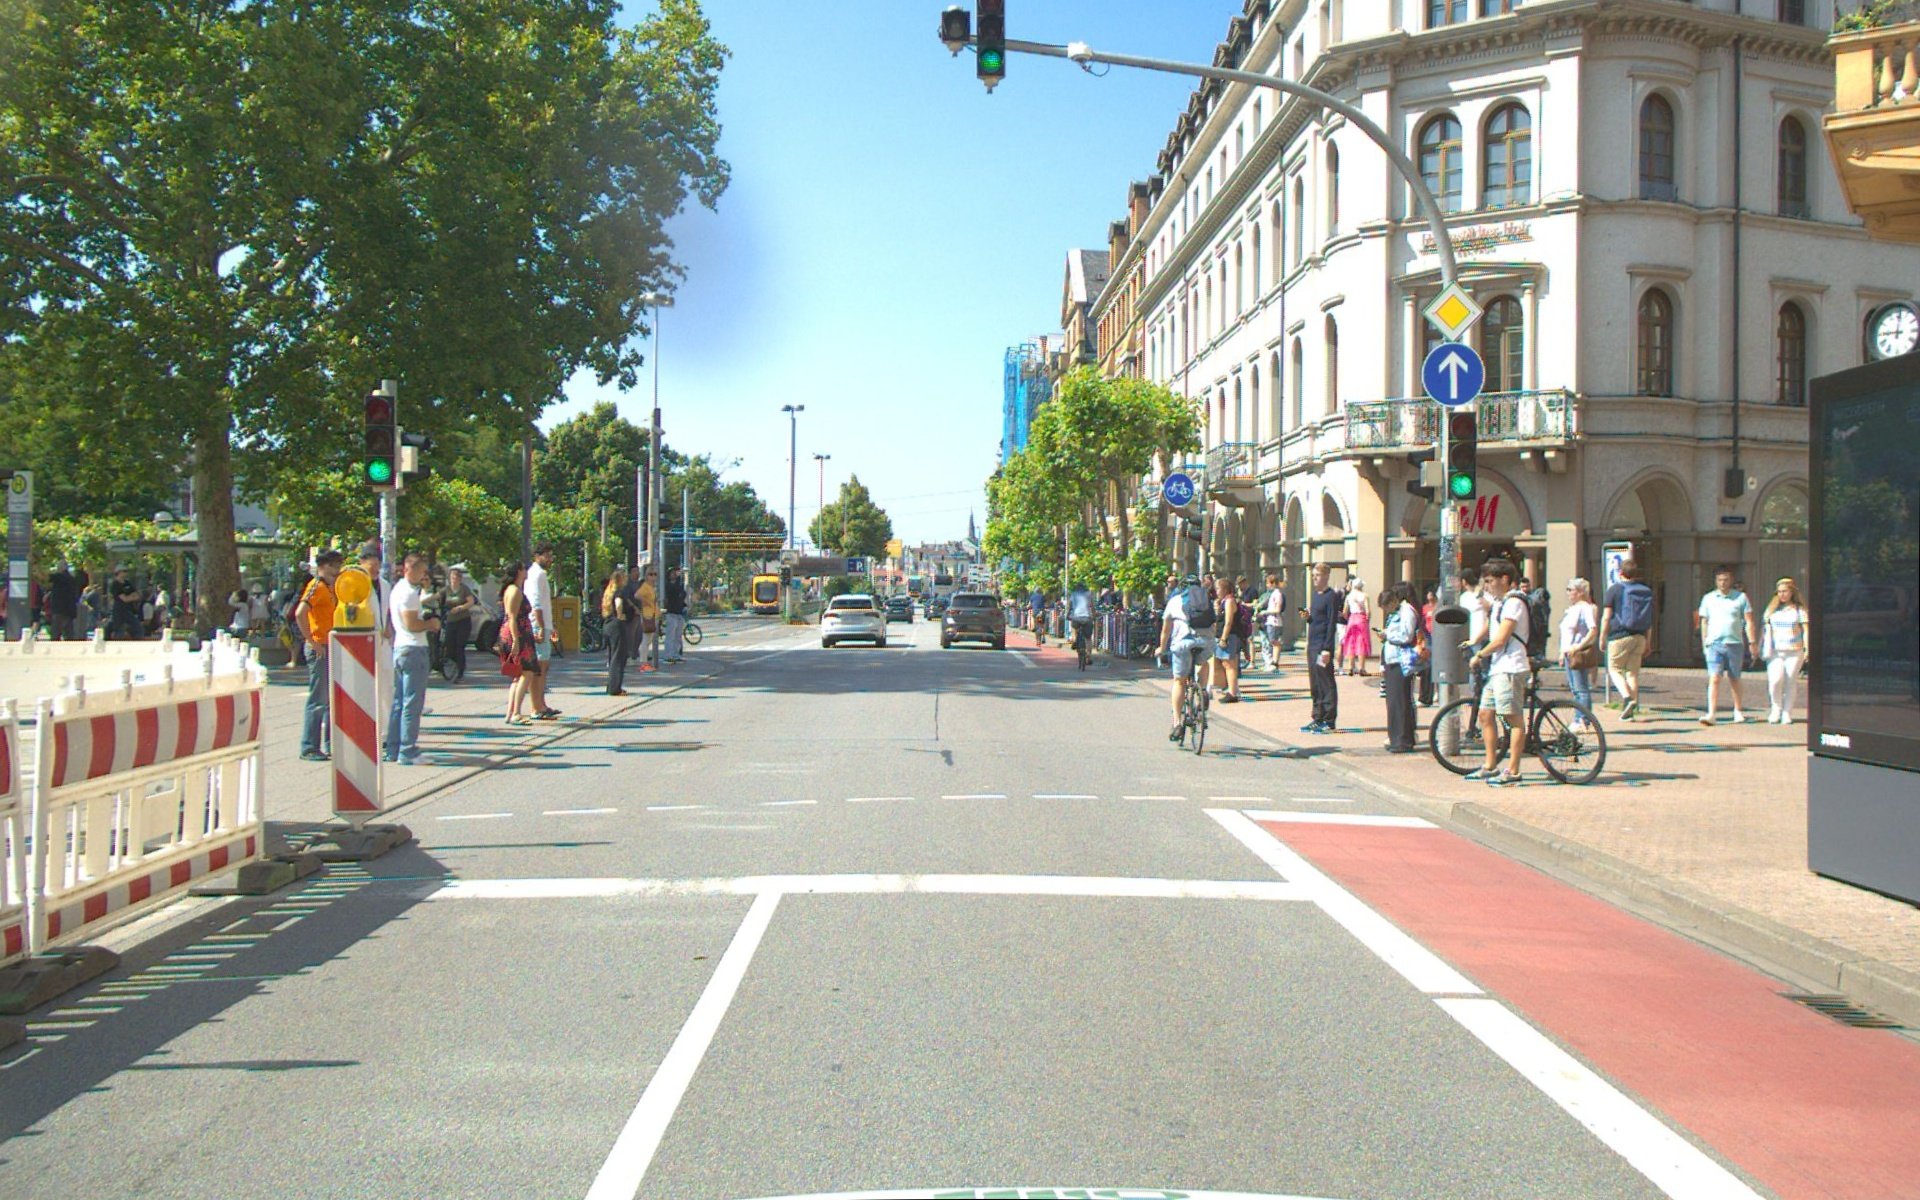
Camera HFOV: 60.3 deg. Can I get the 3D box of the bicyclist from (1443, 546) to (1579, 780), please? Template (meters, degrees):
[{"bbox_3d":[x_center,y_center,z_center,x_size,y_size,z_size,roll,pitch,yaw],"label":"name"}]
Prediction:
[{"bbox_3d":[4.490,0.494,13.503,0.569,1.828,0.846,-2,0,-35],"label":"bicyclist"}]

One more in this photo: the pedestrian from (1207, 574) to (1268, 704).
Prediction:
[{"bbox_3d":[3.956,0.551,23.623,0.658,1.800,0.677,-2,-1,-3],"label":"pedestrian"}]

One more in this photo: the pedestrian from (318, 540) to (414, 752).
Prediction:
[{"bbox_3d":[-5.221,0.393,14.565,0.528,1.810,0.606,2,-1,5],"label":"pedestrian"}]

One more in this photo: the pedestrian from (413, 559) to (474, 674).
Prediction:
[{"bbox_3d":[-8.438,0.268,27.044,0.619,1.842,0.731,0,-1,20],"label":"pedestrian"}]

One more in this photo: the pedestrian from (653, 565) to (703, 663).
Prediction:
[{"bbox_3d":[-5.431,0.270,31.884,0.620,1.866,0.730,0,-1,28],"label":"pedestrian"}]

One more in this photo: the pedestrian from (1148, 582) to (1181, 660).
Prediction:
[{"bbox_3d":[4.385,0.448,35.505,0.519,1.622,0.611,0,3,25],"label":"pedestrian"}]

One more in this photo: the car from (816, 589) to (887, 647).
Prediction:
[{"bbox_3d":[-3.073,0.480,47.581,1.808,1.587,4.000,0,1,-1],"label":"car"}]

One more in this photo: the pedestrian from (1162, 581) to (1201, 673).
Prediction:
[{"bbox_3d":[4.179,0.507,31.236,0.571,1.703,0.605,-3,0,-3],"label":"pedestrian"}]

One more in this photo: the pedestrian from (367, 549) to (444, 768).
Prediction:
[{"bbox_3d":[-4.607,0.471,13.732,0.425,1.770,0.599,2,-1,-32],"label":"pedestrian"}]

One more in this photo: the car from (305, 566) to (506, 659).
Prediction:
[{"bbox_3d":[-12.653,0.285,38.097,1.820,1.989,4.762,0,0,20],"label":"car"}]

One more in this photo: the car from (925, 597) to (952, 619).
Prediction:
[{"bbox_3d":[-1.509,0.561,114.780,1.808,1.438,3.999,1,0,-2],"label":"car"}]

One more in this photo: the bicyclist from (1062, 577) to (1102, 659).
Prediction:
[{"bbox_3d":[2.516,0.362,34.120,0.758,1.664,0.851,0,0,-1],"label":"bicyclist"}]

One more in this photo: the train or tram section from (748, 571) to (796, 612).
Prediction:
[{"bbox_3d":[-16.558,-0.761,146.485,2.558,3.407,11.006,1,0,2],"label":"train or tram section"}]

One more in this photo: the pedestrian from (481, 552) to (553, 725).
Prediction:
[{"bbox_3d":[-4.685,0.402,17.513,0.564,1.789,0.638,1,-1,1],"label":"pedestrian"}]

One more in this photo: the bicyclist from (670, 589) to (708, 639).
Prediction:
[{"bbox_3d":[-8.393,0.417,51.208,1.033,1.529,0.736,1,0,-21],"label":"bicyclist"}]

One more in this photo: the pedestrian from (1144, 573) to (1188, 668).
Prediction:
[{"bbox_3d":[4.279,0.430,34.328,0.674,1.931,0.611,-3,0,25],"label":"pedestrian"}]

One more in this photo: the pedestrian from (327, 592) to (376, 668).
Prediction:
[{"bbox_3d":[-11.486,0.561,31.228,0.717,1.410,0.664,1,-1,-8],"label":"pedestrian"}]

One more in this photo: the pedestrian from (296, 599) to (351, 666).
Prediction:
[{"bbox_3d":[-11.201,0.565,29.118,0.619,1.164,0.665,0,-1,20],"label":"pedestrian"}]

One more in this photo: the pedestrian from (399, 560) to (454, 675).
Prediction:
[{"bbox_3d":[-8.250,0.269,25.601,0.564,1.741,0.606,2,-1,3],"label":"pedestrian"}]

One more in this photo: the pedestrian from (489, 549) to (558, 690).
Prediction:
[{"bbox_3d":[-5.956,0.258,22.586,0.619,1.891,0.687,0,-1,20],"label":"pedestrian"}]

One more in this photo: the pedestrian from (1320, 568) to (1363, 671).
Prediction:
[{"bbox_3d":[6.979,0.358,30.292,0.598,1.855,0.677,1,-1,-3],"label":"pedestrian"}]

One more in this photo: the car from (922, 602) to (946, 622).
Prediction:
[{"bbox_3d":[-2.019,0.925,126.552,1.808,1.438,3.999,1,0,-2],"label":"car"}]

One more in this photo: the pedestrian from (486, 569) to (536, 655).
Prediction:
[{"bbox_3d":[-9.531,0.258,35.106,0.665,1.795,0.765,0,-1,28],"label":"pedestrian"}]

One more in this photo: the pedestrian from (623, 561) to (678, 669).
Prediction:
[{"bbox_3d":[-5.299,0.256,28.365,0.619,1.825,0.731,0,-1,20],"label":"pedestrian"}]

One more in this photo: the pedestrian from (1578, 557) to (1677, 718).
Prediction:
[{"bbox_3d":[7.833,0.442,19.449,0.644,1.821,1.232,0,-2,-1],"label":"pedestrian"}]

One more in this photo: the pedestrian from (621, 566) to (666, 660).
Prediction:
[{"bbox_3d":[-6.360,0.255,33.252,0.605,1.855,0.663,0,-1,28],"label":"pedestrian"}]

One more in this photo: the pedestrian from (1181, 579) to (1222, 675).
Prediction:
[{"bbox_3d":[4.396,0.494,30.128,0.571,1.703,0.605,-3,0,-3],"label":"pedestrian"}]

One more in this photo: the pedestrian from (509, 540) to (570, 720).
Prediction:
[{"bbox_3d":[-4.633,0.318,18.250,0.521,1.952,0.560,1,2,1],"label":"pedestrian"}]

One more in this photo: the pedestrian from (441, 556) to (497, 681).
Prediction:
[{"bbox_3d":[-7.305,0.271,24.622,0.564,1.810,0.606,2,-1,5],"label":"pedestrian"}]

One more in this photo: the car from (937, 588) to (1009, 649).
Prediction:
[{"bbox_3d":[0.327,0.483,46.785,1.809,1.586,3.998,-2,1,-3],"label":"car"}]

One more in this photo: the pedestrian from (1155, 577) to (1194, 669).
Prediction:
[{"bbox_3d":[4.136,0.444,31.909,0.571,1.729,0.605,-3,0,-3],"label":"pedestrian"}]

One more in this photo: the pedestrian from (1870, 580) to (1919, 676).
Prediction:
[{"bbox_3d":[17.465,0.515,30.833,0.534,1.746,0.671,1,0,-31],"label":"pedestrian"}]

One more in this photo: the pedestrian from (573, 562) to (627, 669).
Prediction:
[{"bbox_3d":[-6.490,0.274,29.847,0.620,1.891,0.730,0,-1,28],"label":"pedestrian"}]

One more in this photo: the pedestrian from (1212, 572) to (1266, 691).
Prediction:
[{"bbox_3d":[4.331,0.489,25.723,0.598,1.790,0.677,-4,0,-3],"label":"pedestrian"}]

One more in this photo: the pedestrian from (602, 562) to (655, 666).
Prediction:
[{"bbox_3d":[-6.118,0.256,30.505,0.620,1.891,0.730,0,-1,28],"label":"pedestrian"}]

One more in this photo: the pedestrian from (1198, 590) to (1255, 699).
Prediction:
[{"bbox_3d":[3.920,0.648,24.351,0.598,1.541,0.677,-4,0,-3],"label":"pedestrian"}]

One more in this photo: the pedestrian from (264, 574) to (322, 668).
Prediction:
[{"bbox_3d":[-11.486,0.357,28.481,0.619,1.593,0.665,0,-1,20],"label":"pedestrian"}]

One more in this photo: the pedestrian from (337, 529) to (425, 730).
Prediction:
[{"bbox_3d":[-5.702,0.289,16.312,0.564,1.924,0.653,2,-1,1],"label":"pedestrian"}]

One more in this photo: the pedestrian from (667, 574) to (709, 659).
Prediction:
[{"bbox_3d":[-5.499,0.335,33.461,0.605,1.697,0.591,0,-1,28],"label":"pedestrian"}]

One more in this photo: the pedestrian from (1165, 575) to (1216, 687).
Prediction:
[{"bbox_3d":[3.761,0.506,27.056,0.598,1.770,0.677,-4,0,-3],"label":"pedestrian"}]

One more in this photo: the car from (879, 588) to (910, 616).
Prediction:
[{"bbox_3d":[-3.884,0.116,98.882,1.808,1.587,3.999,1,0,-2],"label":"car"}]

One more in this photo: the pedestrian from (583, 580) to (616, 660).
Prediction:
[{"bbox_3d":[-8.004,0.440,36.760,0.598,1.755,0.677,1,-1,-3],"label":"pedestrian"}]

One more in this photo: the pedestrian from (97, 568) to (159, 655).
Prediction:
[{"bbox_3d":[-14.519,0.195,28.868,0.619,1.504,0.731,0,-1,20],"label":"pedestrian"}]

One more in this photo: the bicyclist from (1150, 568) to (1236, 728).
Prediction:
[{"bbox_3d":[2.288,0.463,16.349,0.617,1.507,1.198,2,-1,-2],"label":"bicyclist"}]

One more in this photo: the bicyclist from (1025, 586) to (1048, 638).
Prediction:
[{"bbox_3d":[2.314,0.360,50.088,0.634,1.578,0.817,1,0,-1],"label":"bicyclist"}]

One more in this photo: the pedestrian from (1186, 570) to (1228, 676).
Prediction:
[{"bbox_3d":[4.390,0.405,29.416,0.598,1.855,0.677,1,-1,-3],"label":"pedestrian"}]

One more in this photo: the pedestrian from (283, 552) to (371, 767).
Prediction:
[{"bbox_3d":[-5.308,0.489,13.858,0.534,1.748,0.599,2,-1,-32],"label":"pedestrian"}]

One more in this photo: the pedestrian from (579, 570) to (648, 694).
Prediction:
[{"bbox_3d":[-4.653,0.419,22.211,0.619,1.623,0.687,0,-1,20],"label":"pedestrian"}]
